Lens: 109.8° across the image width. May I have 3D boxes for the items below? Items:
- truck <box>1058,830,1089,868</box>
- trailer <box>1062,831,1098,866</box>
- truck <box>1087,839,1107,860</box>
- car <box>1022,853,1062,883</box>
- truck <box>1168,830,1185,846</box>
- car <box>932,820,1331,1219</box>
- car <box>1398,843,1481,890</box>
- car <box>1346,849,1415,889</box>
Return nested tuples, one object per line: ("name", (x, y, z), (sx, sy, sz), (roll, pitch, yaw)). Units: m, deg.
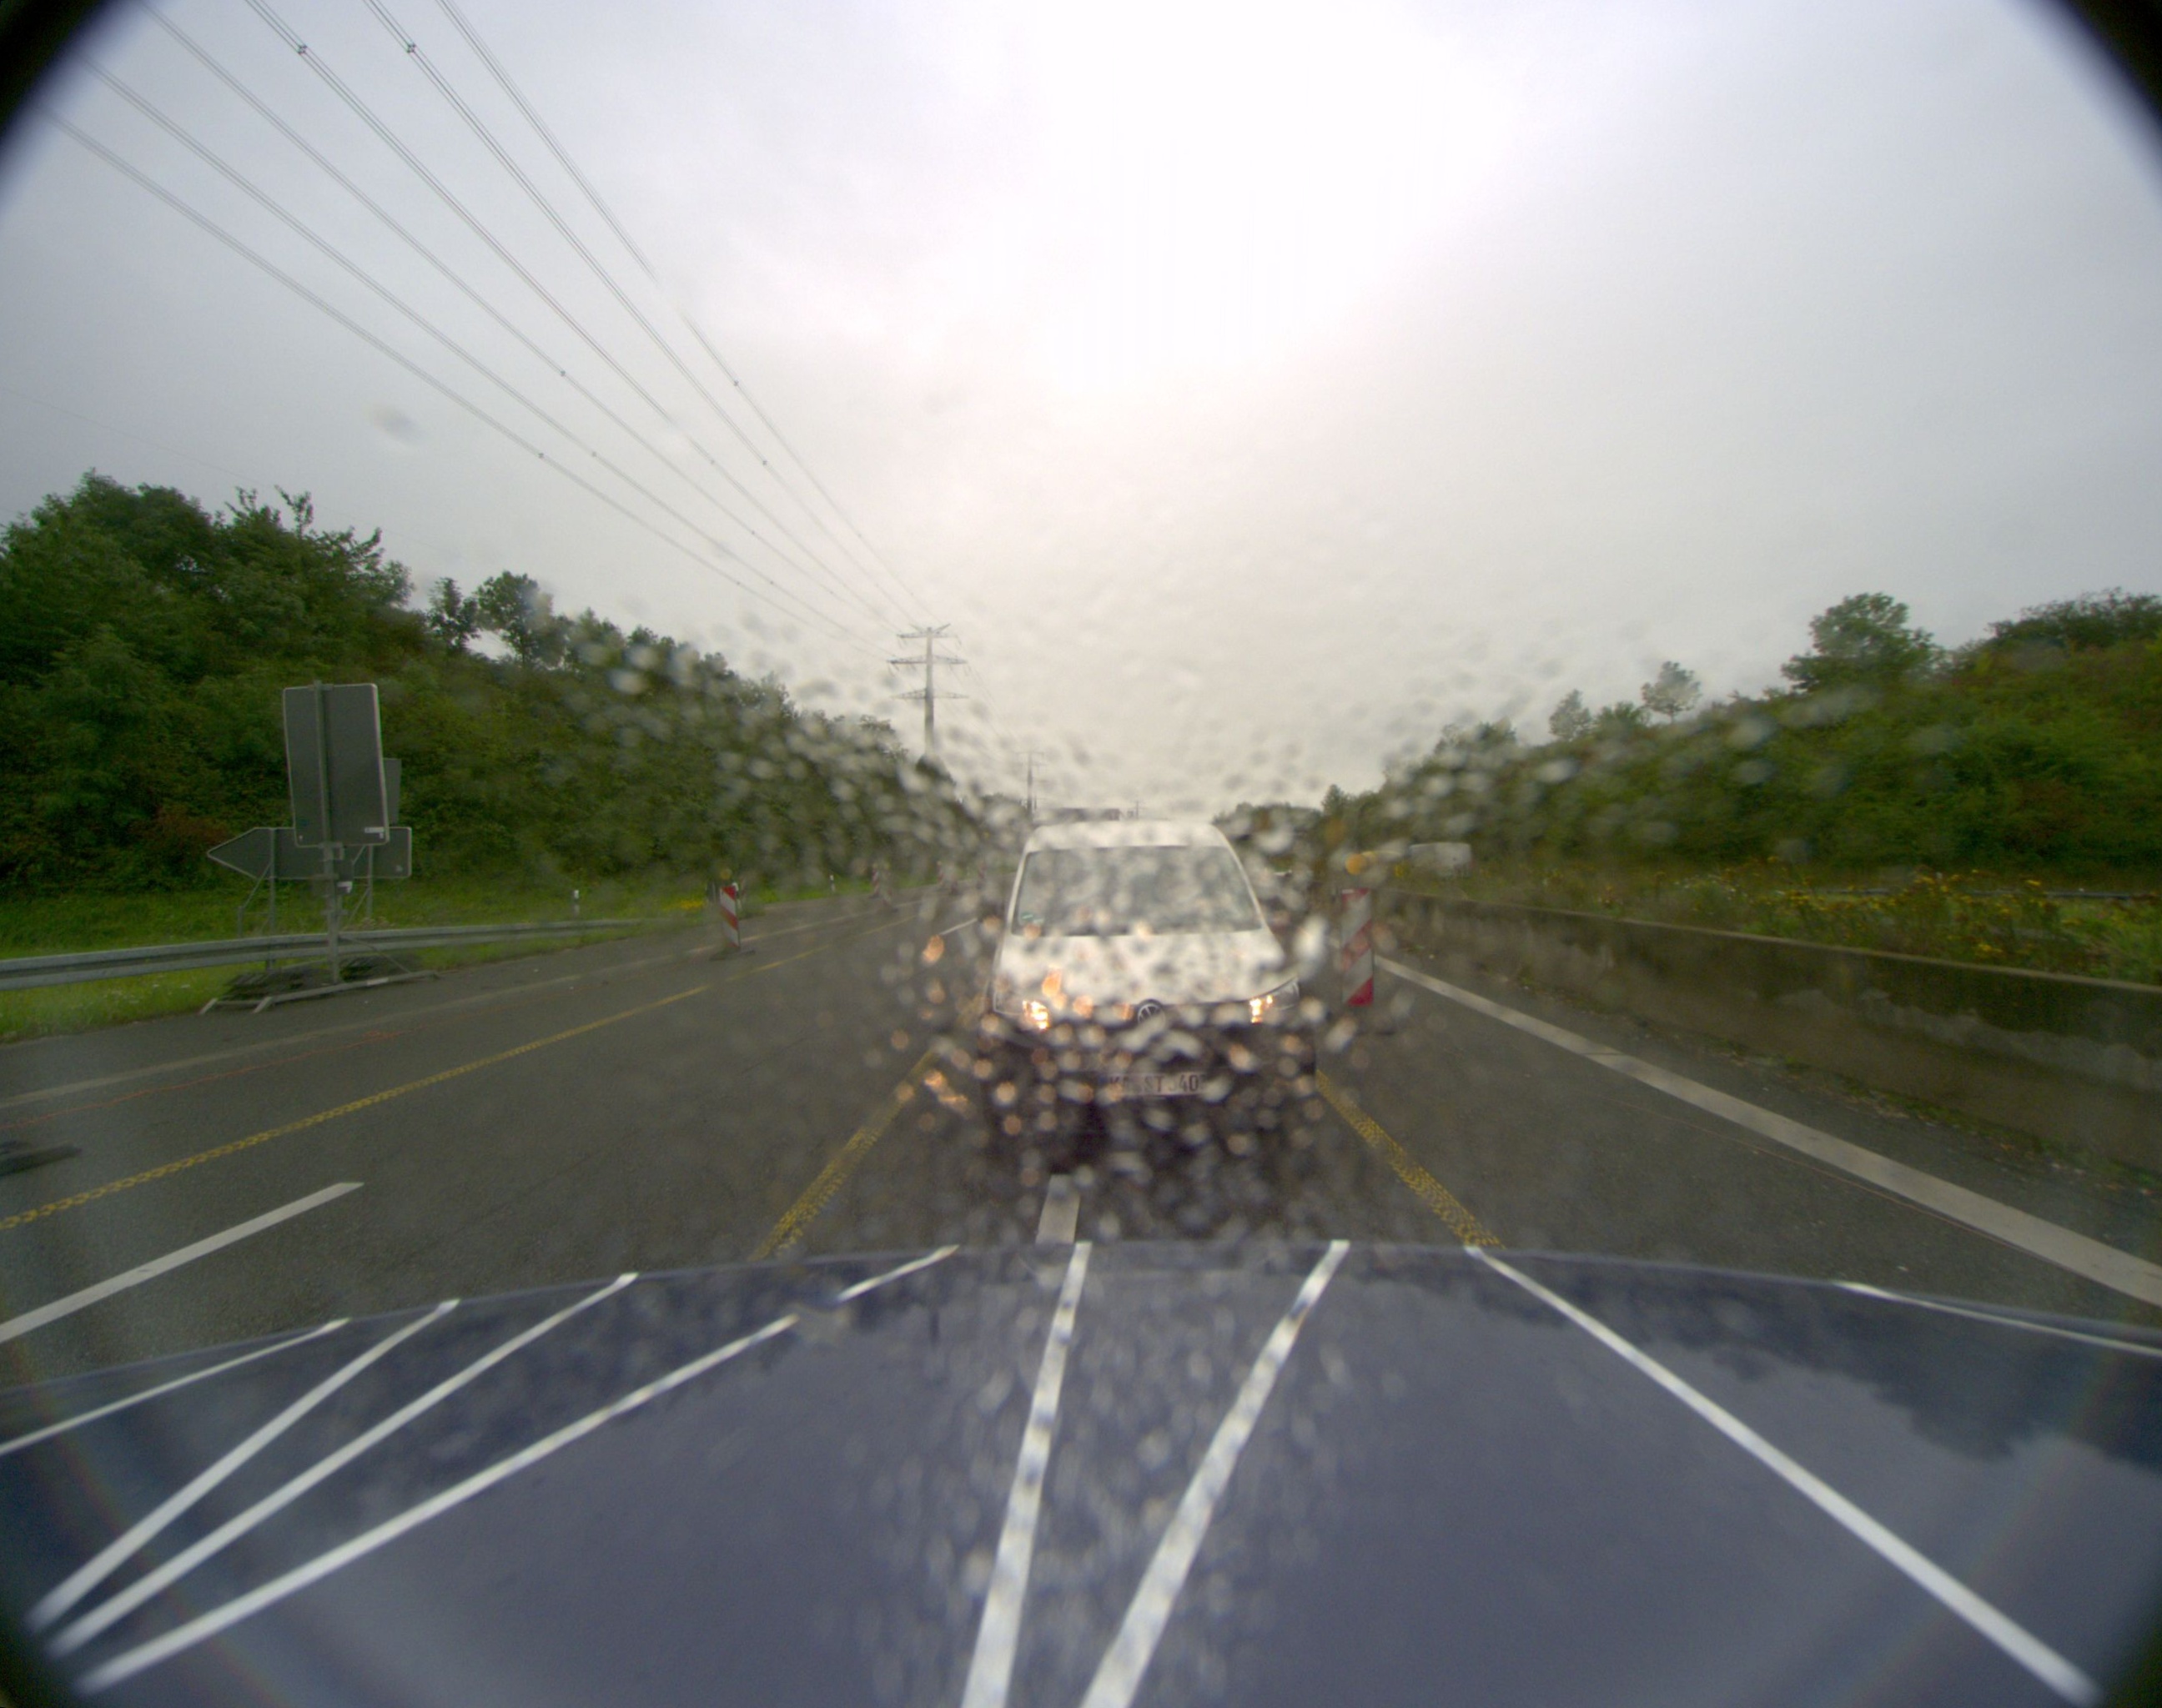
("truck", (-0.790, -0.586, 83.495), (2.552, 3.924, 4.002), (-2, 1, 9))
("trailer", (0.065, -0.754, 89.874), (2.524, 3.812, 12.356), (-2, 1, 8))
("truck", (3.095, -0.923, 146.489), (2.745, 3.912, 5.402), (-2, 1, 14))
("car", (-2.317, 0.816, 46.498), (2.051, 1.587, 5.801), (-2, 0, 1))
("truck", (27.369, -4.583, 218.716), (3.414, 4.498, 17.288), (-1, 1, 3))
("car", (0.255, 0.760, 5.815), (1.770, 1.774, 4.647), (-2, 0, 1))
("car", (20.074, 0.676, 42.890), (2.245, 2.426, 5.885), (0, 0, 4))
("car", (15.992, 0.774, 40.853), (1.998, 2.035, 4.779), (0, 0, 2))
